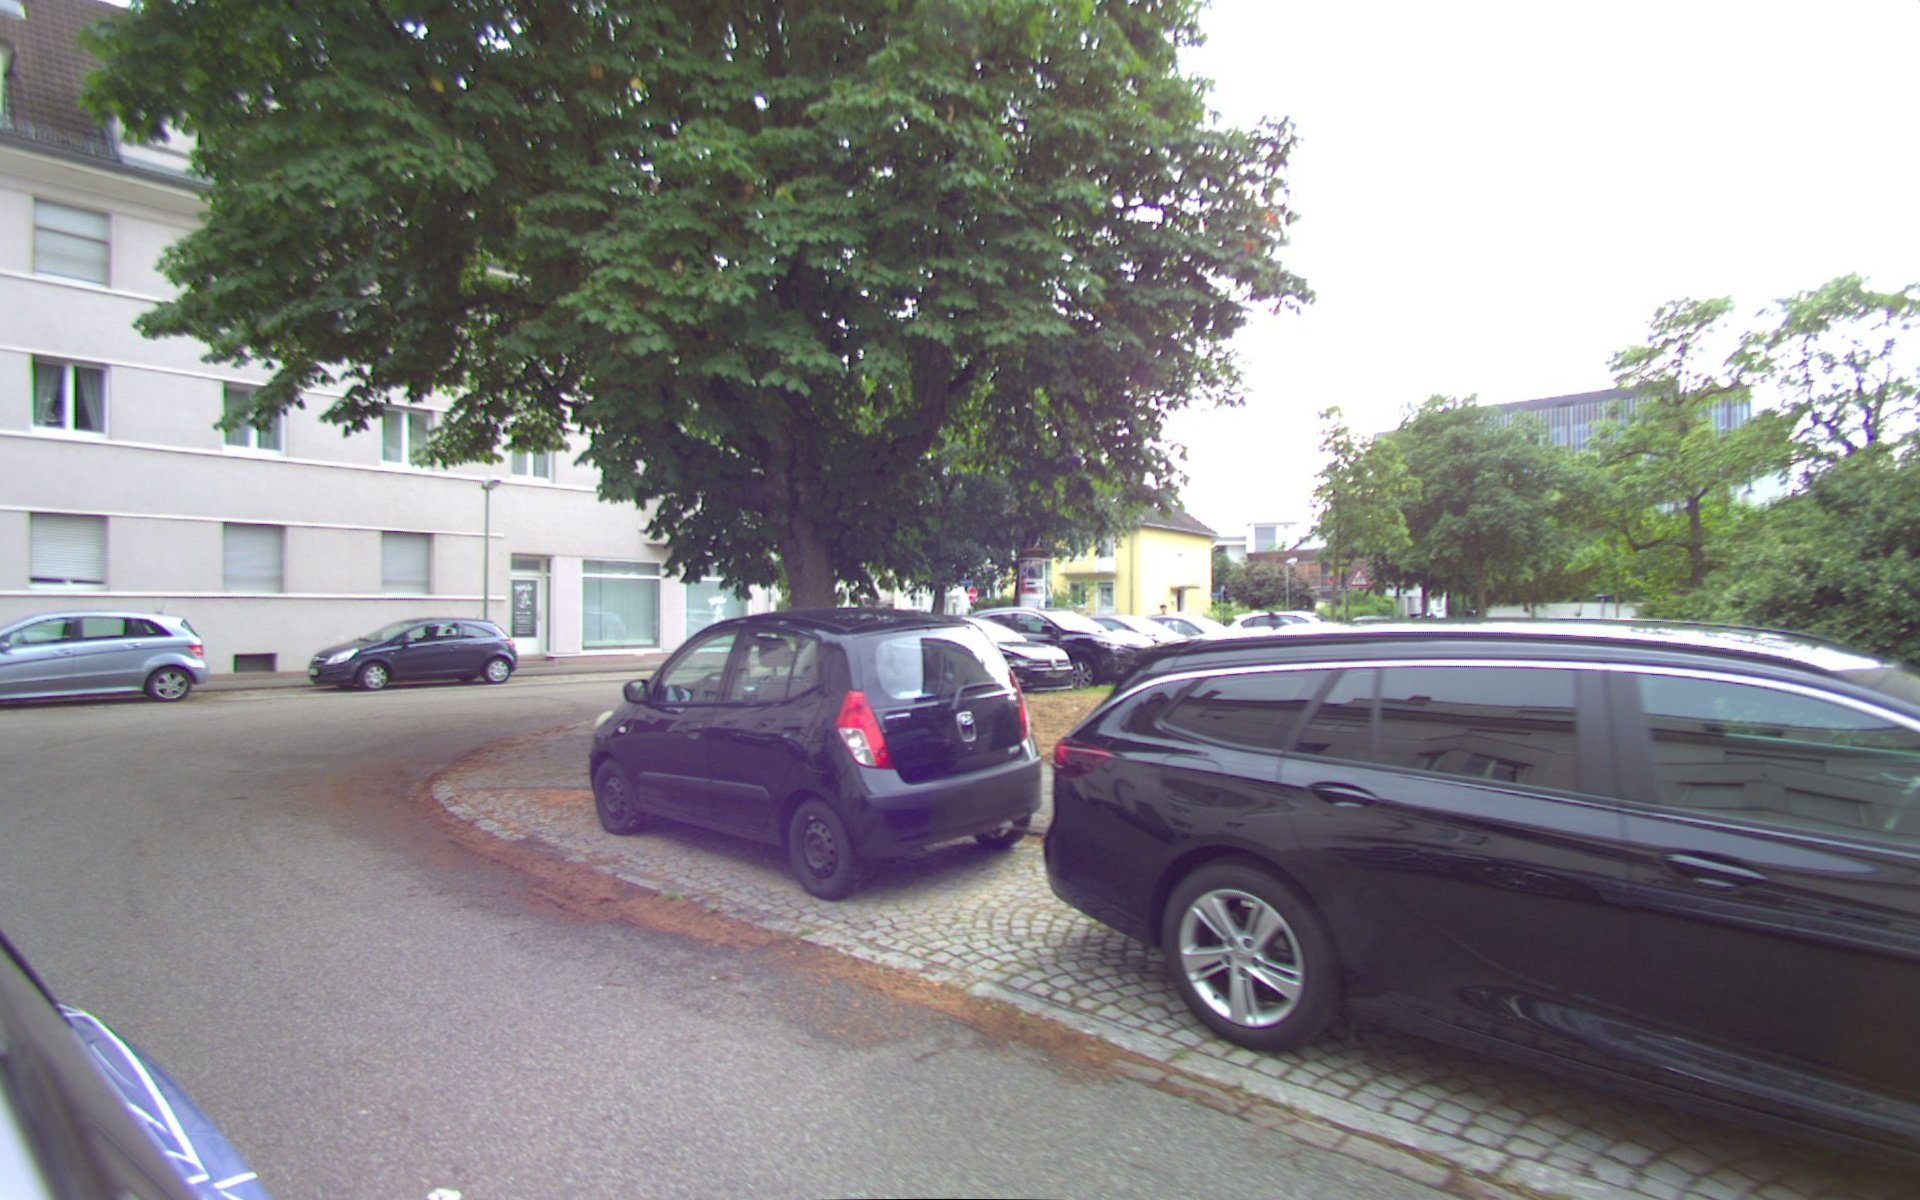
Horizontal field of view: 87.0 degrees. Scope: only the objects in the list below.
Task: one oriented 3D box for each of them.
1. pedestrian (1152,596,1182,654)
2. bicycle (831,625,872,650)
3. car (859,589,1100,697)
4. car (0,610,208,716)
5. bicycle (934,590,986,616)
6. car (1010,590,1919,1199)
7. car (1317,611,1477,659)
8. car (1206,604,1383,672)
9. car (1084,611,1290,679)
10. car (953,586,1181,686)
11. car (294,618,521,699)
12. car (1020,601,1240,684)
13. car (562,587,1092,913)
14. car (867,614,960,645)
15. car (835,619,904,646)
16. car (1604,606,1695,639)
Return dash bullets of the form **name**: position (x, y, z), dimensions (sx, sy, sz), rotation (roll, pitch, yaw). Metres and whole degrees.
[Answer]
- **pedestrian**: position (6.739, 0.811, 32.866), dimensions (0.871, 1.850, 1.213), rotation (-1, -1, 15)
- **bicycle**: position (-4.870, 1.661, 45.344), dimensions (1.883, 1.075, 0.659), rotation (-1, -2, 39)
- **car**: position (0.240, 0.689, 16.920), dimensions (3.844, 1.589, 1.804), rotation (-1, -2, 44)
- **car**: position (-15.399, 1.025, 17.072), dimensions (1.763, 1.640, 4.139), rotation (-2, -1, 44)
- **bicycle**: position (-0.002, 0.125, 40.755), dimensions (2.177, 0.993, 0.506), rotation (-2, 1, 34)
- **car**: position (2.619, 0.741, 3.177), dimensions (4.834, 1.475, 1.847), rotation (-2, 1, 43)
- **car**: position (14.325, 1.174, 33.285), dimensions (4.553, 1.465, 1.659), rotation (-3, -2, 37)
- **car**: position (9.128, 1.052, 27.787), dimensions (4.147, 1.572, 1.858), rotation (-6, -3, 42)
- **car**: position (5.348, 1.064, 24.347), dimensions (1.814, 1.475, 4.563), rotation (0, -2, -44)
- **car**: position (1.966, 0.690, 19.463), dimensions (1.888, 1.710, 4.071), rotation (0, -2, -44)
- **car**: position (-11.624, 1.164, 21.457), dimensions (1.762, 1.501, 3.882), rotation (-2, -1, 42)
- **car**: position (3.500, 0.883, 21.457), dimensions (1.814, 1.578, 4.360), rotation (0, -2, -44)
- **car**: position (-1.055, 0.740, 6.603), dimensions (3.593, 1.505, 1.507), rotation (-2, 1, 45)
- **car**: position (-2.533, 1.588, 54.126), dimensions (4.875, 1.578, 1.879), rotation (-1, -2, 37)
- **car**: position (-5.645, 2.001, 63.158), dimensions (4.201, 1.578, 1.685), rotation (-1, 0, 36)
- **car**: position (42.484, 1.389, 62.414), dimensions (4.488, 1.873, 1.975), rotation (-2, 1, 38)
